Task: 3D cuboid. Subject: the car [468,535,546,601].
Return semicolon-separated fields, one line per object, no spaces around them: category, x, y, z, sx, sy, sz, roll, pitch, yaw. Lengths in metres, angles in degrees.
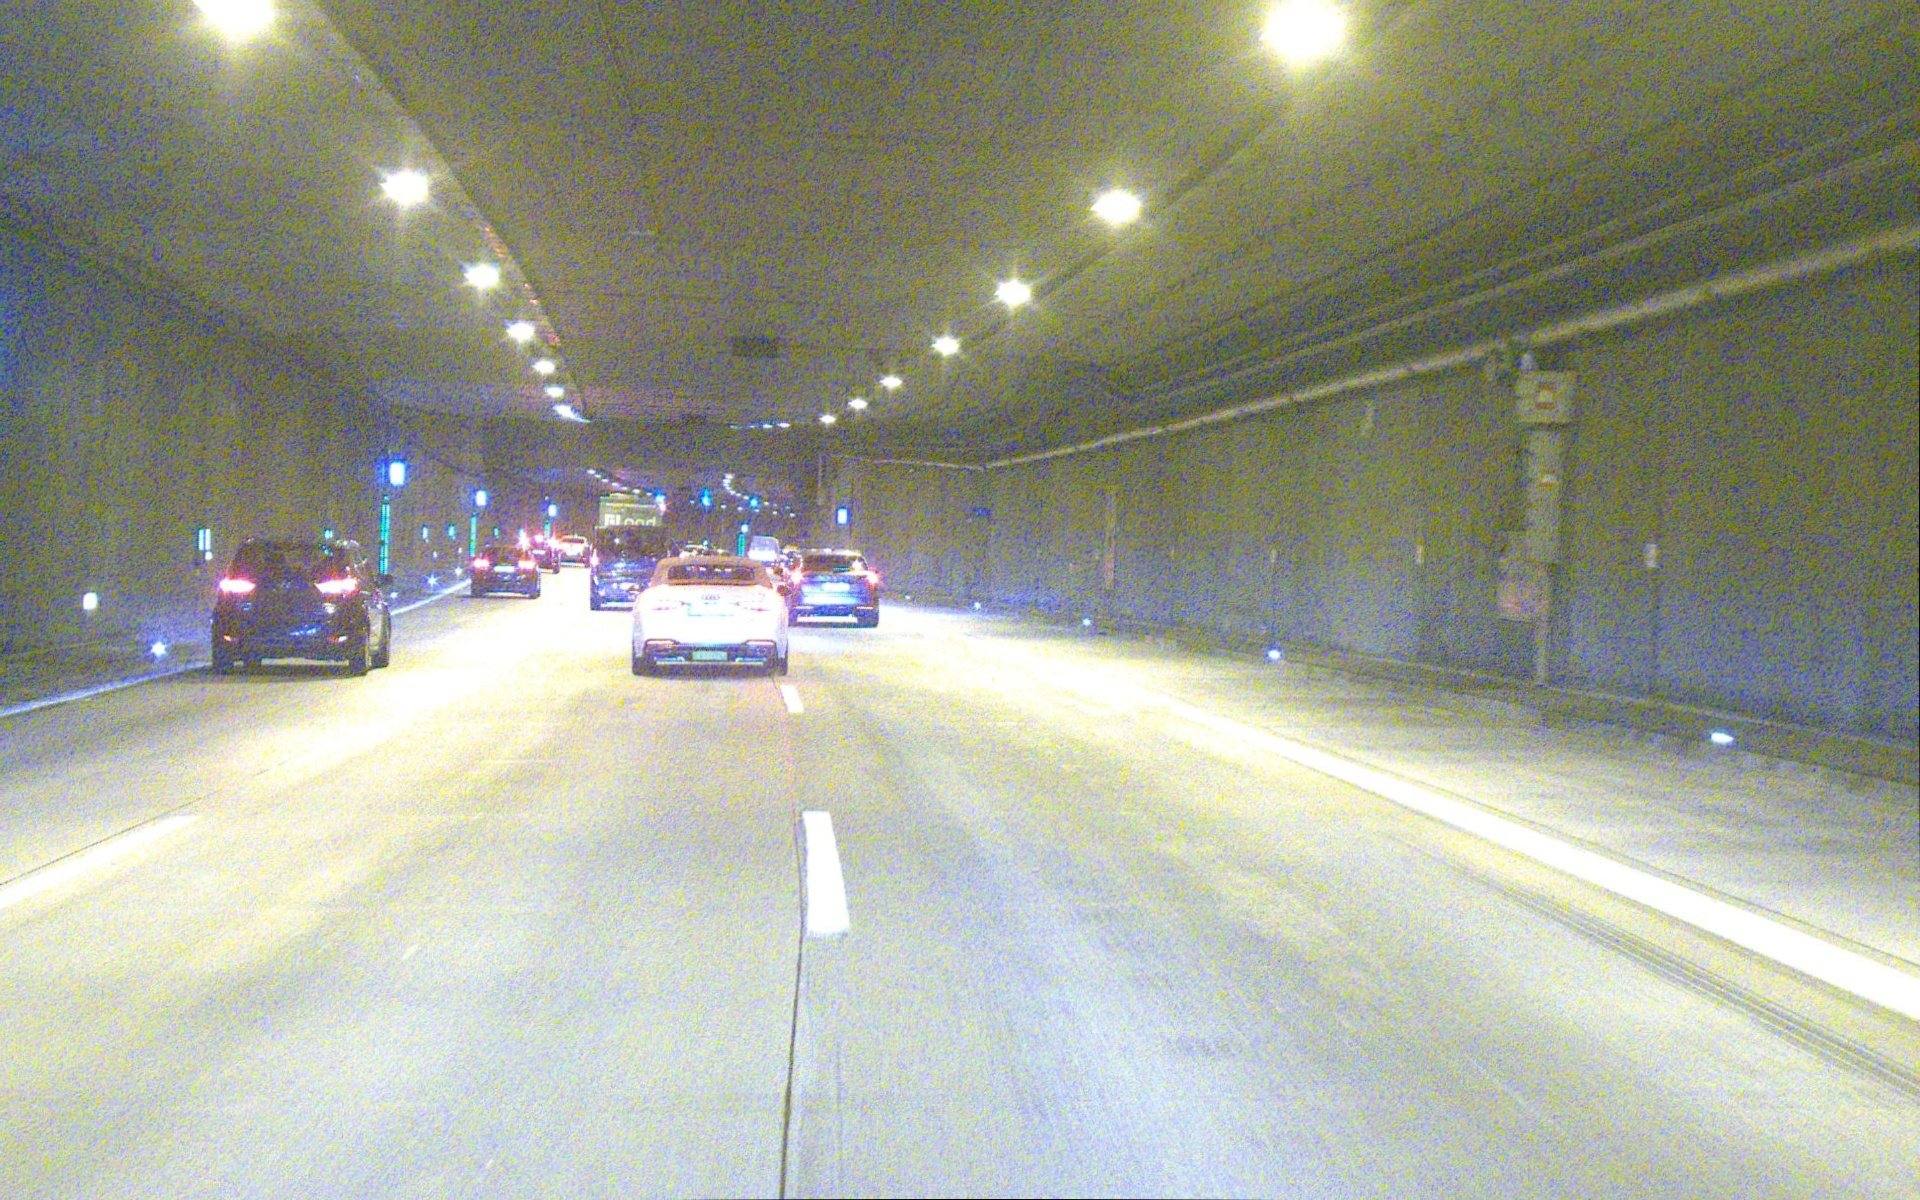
car;-11.907;-0.846;90.565;1.800;1.678;4.001;0;1;-4

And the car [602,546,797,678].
car;-3.042;0.107;40.926;1.993;1.478;4.000;0;1;0

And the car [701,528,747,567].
car;-10.858;-2.396;157.971;1.993;1.748;4.001;1;0;-6

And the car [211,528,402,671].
car;-7.623;-0.034;40.410;1.785;1.593;3.802;0;1;-4

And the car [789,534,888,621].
car;-2.360;-0.459;66.437;1.839;1.596;4.001;0;1;-3

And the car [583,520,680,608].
car;-7.516;-0.830;78.997;1.993;1.965;4.000;0;0;-2

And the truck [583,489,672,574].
truck;-12.869;-2.714;133.858;3.082;3.102;10.031;1;2;-4
